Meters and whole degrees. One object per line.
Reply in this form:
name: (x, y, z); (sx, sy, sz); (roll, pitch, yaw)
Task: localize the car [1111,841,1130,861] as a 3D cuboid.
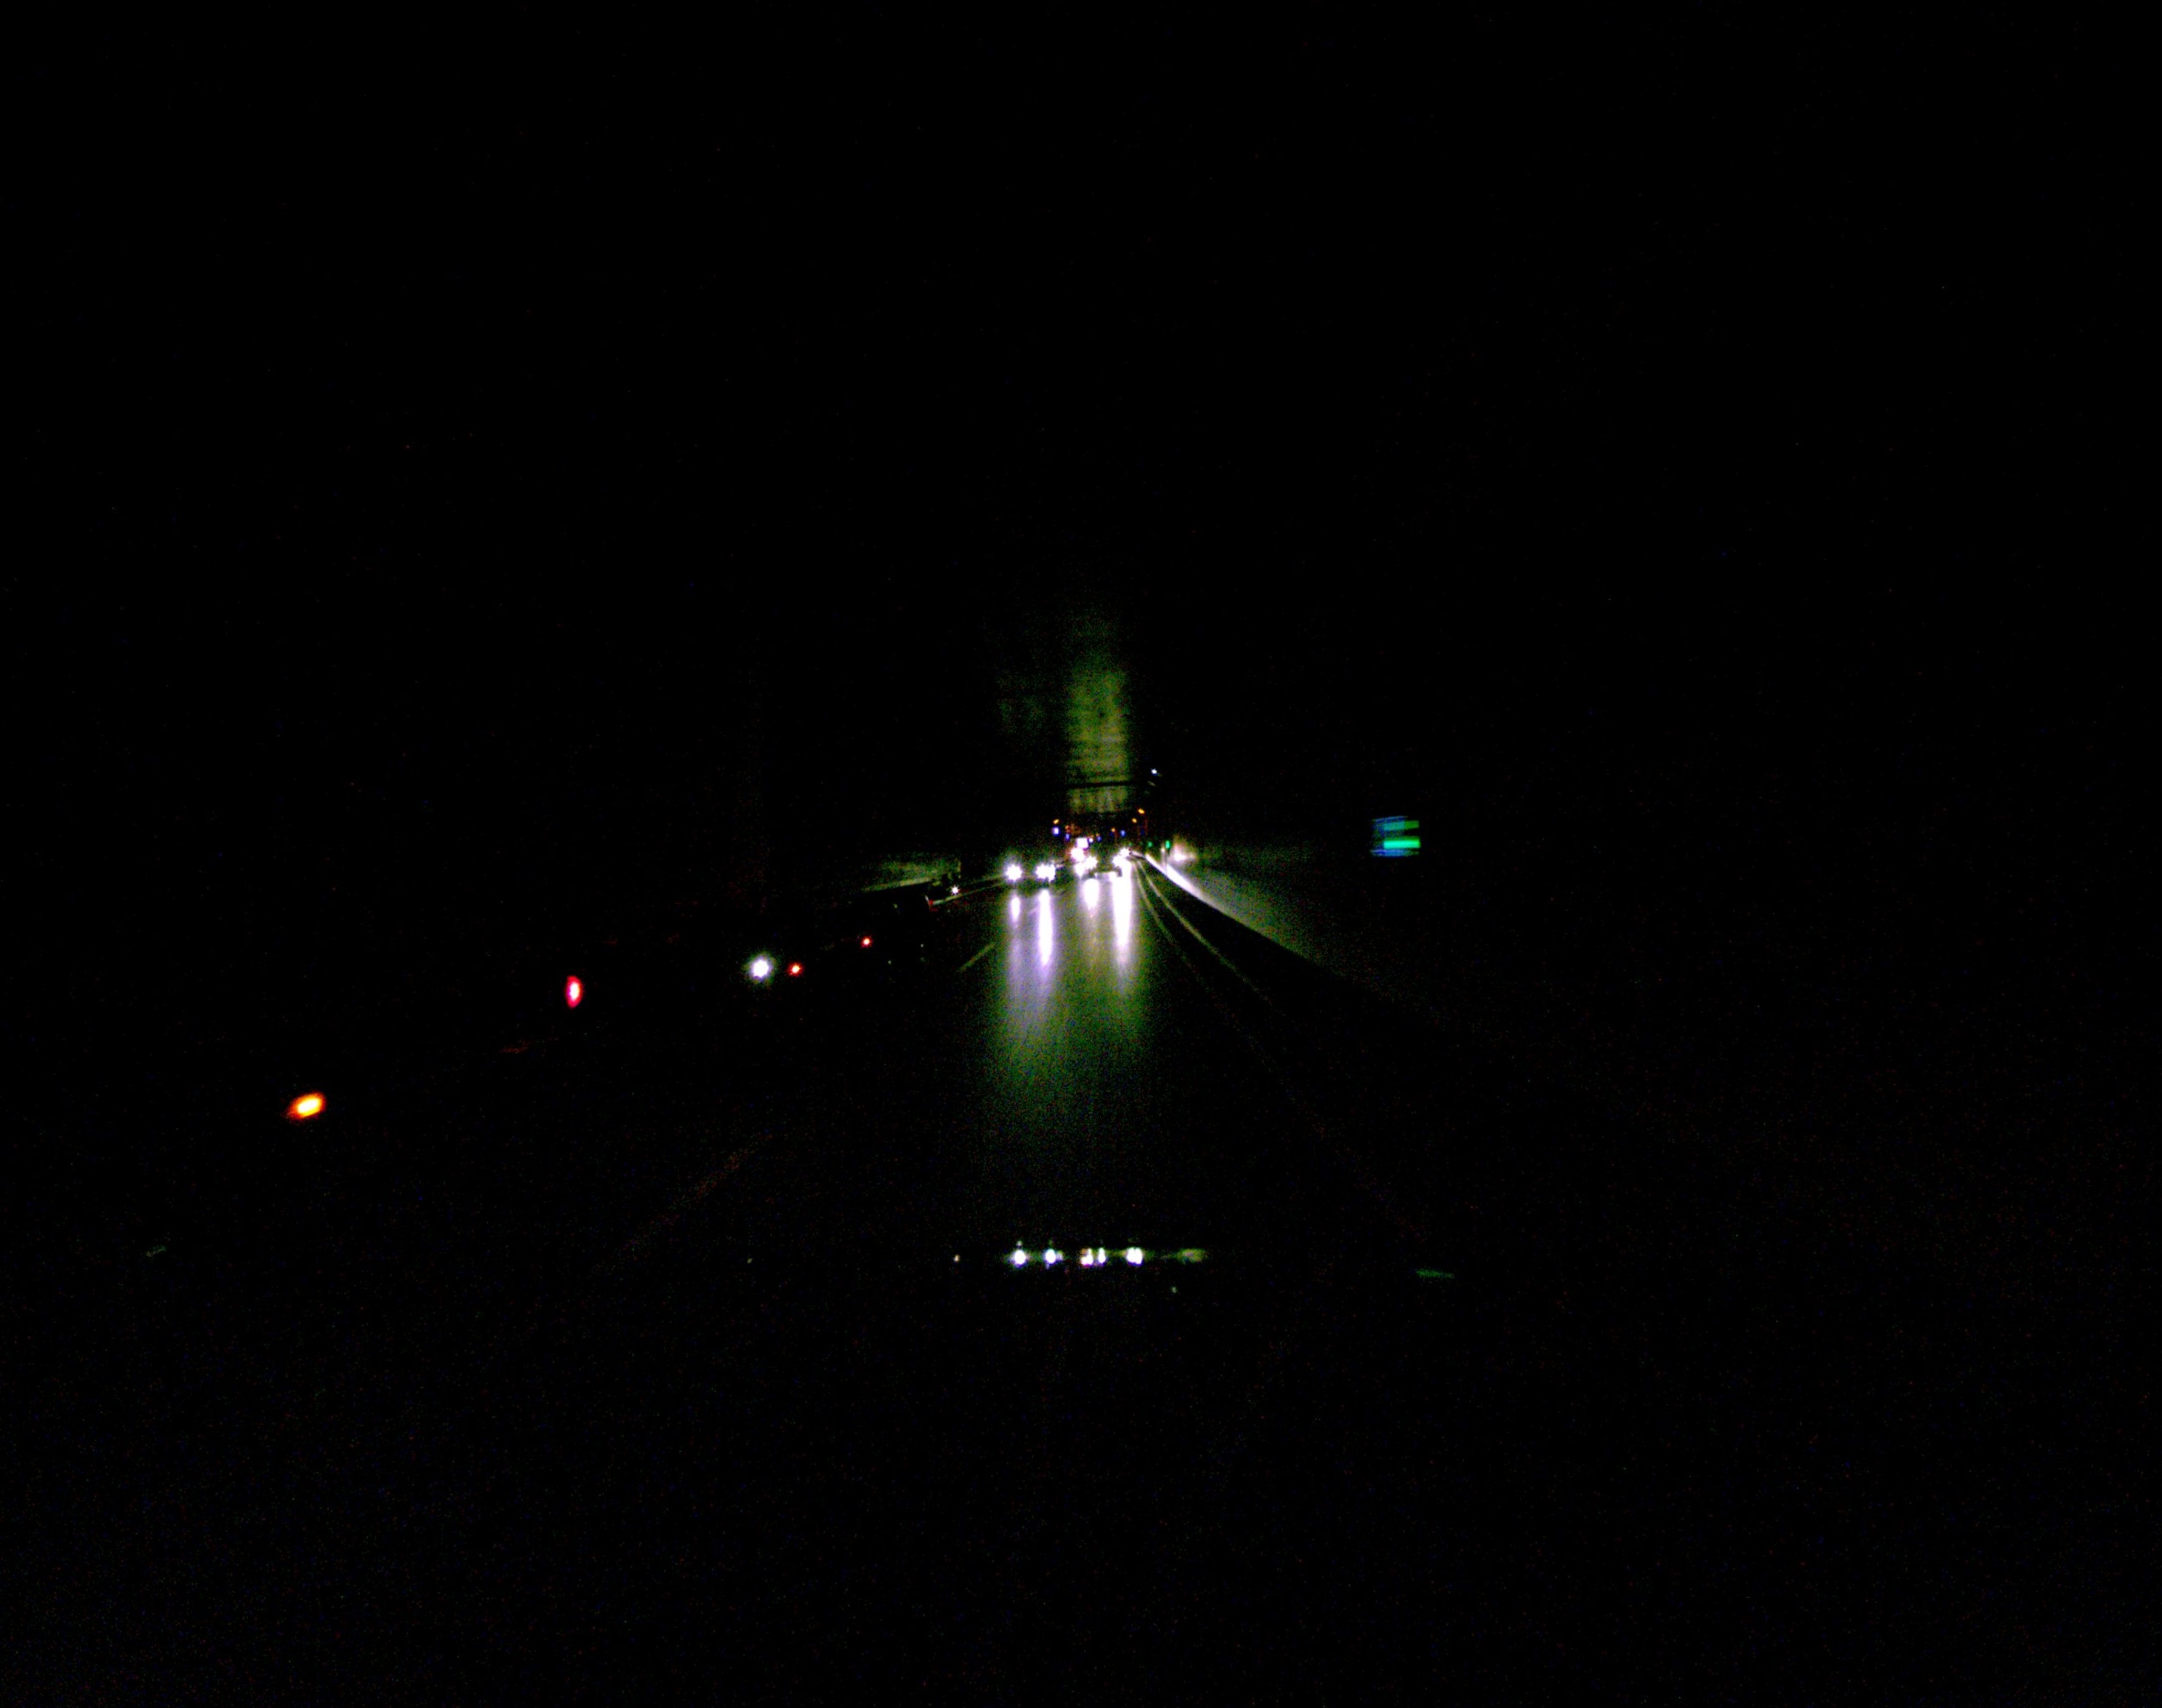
car: (3.946, -0.326, 75.861); (1.714, 1.729, 3.999); (-3, 2, 3)

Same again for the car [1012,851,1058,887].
car: (-2.014, 0.639, 34.283); (1.735, 1.395, 3.798); (-3, 1, 0)

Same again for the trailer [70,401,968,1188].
trailer: (-3.472, -0.288, 8.279); (2.882, 3.836, 8.948); (-2, 0, 1)

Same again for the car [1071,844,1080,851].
car: (-1.293, -1.562, 182.214); (1.998, 1.674, 4.000); (-3, 1, 2)

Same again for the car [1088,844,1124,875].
car: (1.429, 0.272, 42.148); (1.819, 1.589, 4.001); (-3, 0, 4)

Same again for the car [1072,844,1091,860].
car: (0.084, -0.261, 81.336); (1.735, 1.565, 4.000); (-3, 0, 3)
